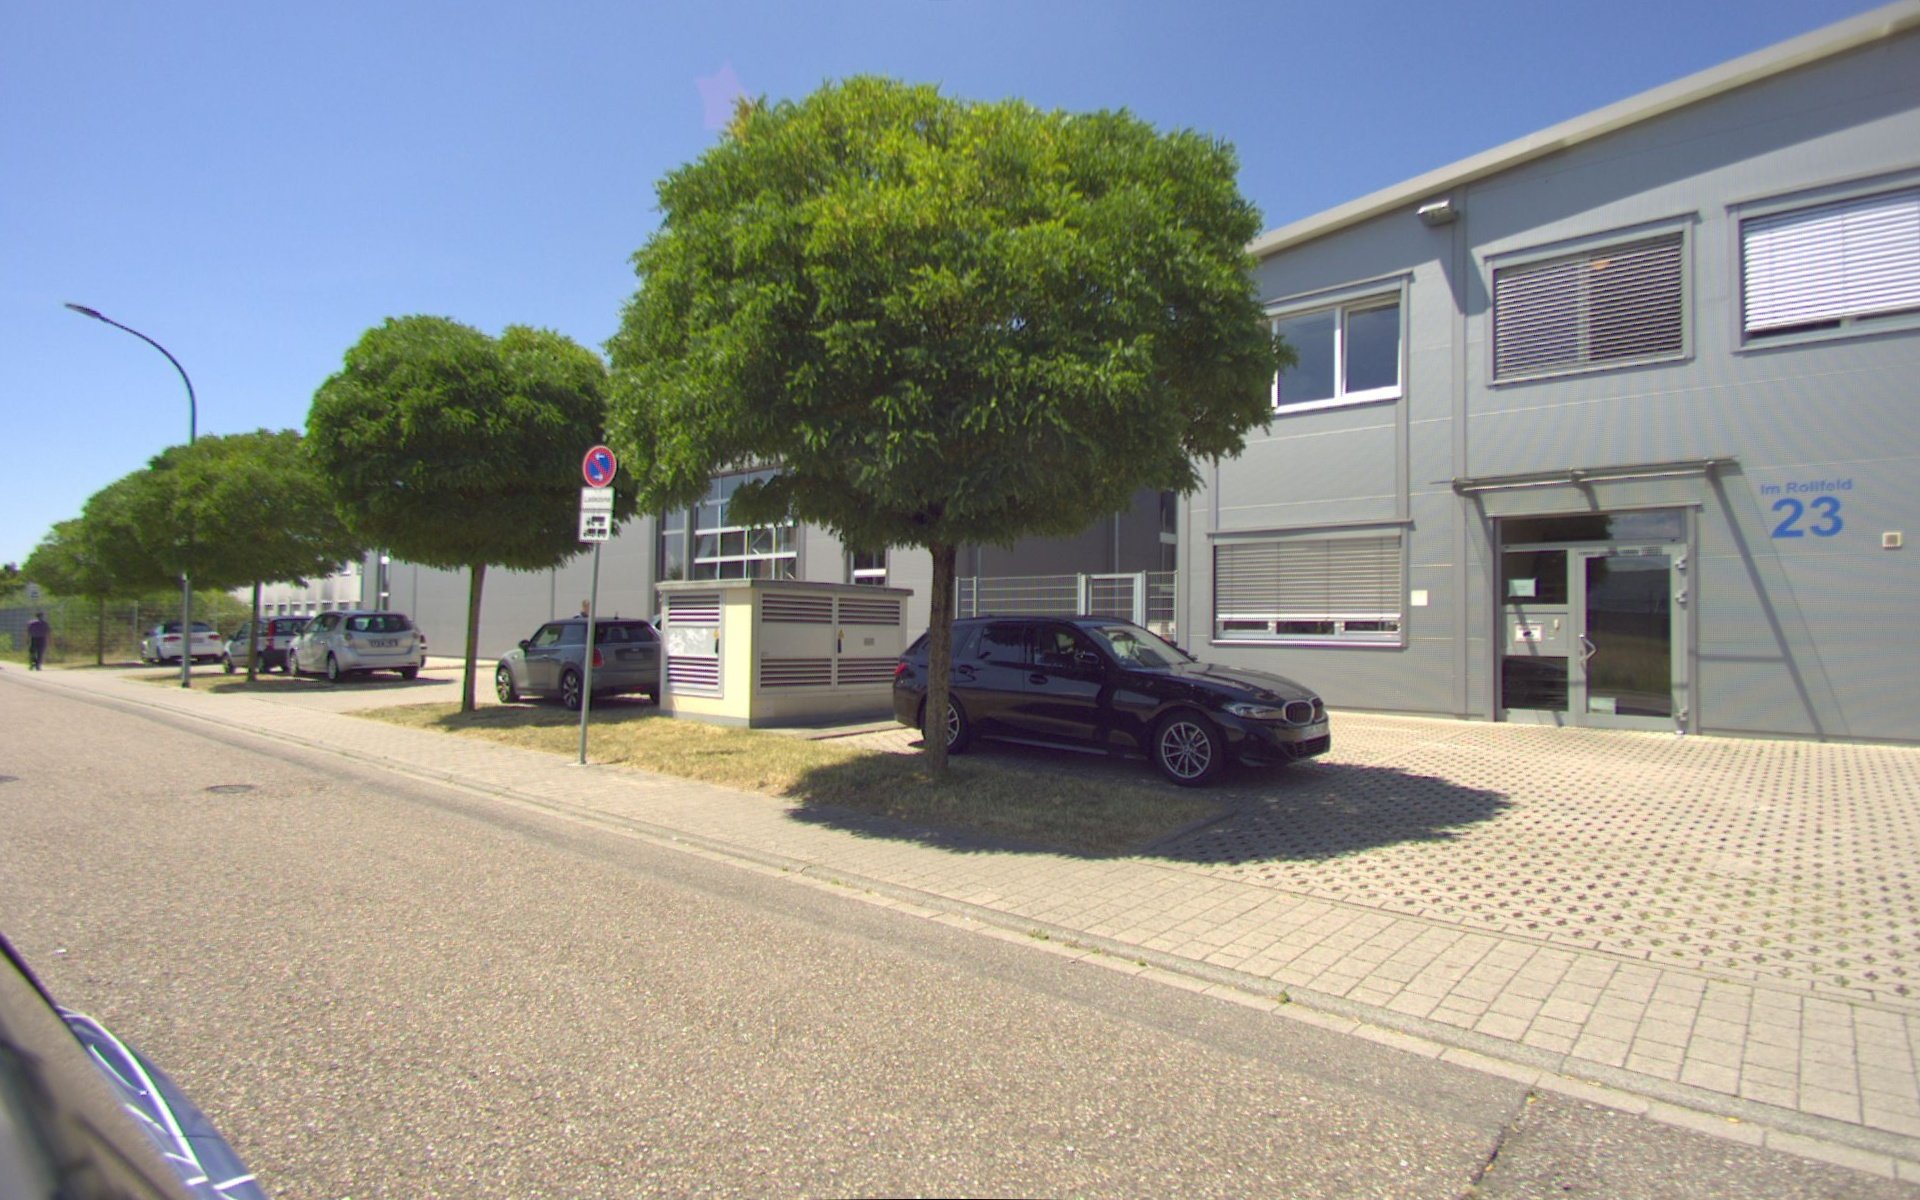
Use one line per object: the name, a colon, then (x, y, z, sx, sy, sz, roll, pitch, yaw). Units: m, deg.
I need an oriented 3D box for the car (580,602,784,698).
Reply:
car: (-5.402, 0.896, 19.373, 4.347, 1.640, 1.716, -1, -1, 42)

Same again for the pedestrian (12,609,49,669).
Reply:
pedestrian: (-28.726, 1.202, 31.268, 1.134, 1.815, 0.736, -2, -1, 43)

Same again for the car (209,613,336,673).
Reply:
car: (-18.457, 1.135, 27.126, 3.697, 1.511, 1.667, -1, -2, 36)

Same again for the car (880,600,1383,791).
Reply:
car: (1.489, 0.785, 10.076, 4.711, 1.464, 1.747, -1, 0, 41)

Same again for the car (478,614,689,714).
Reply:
car: (-6.357, 0.990, 16.915, 3.839, 1.464, 1.747, -1, -1, 42)

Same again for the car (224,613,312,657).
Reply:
car: (-25.656, 1.261, 37.480, 4.258, 1.511, 1.804, -2, -1, 43)

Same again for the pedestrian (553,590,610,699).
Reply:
pedestrian: (-7.061, 0.813, 18.918, 0.829, 1.987, 0.967, 0, -1, -9)

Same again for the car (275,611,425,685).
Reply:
car: (-14.456, 1.068, 23.883, 4.538, 1.585, 1.747, -1, -1, 41)

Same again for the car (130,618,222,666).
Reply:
car: (-26.766, 1.399, 34.519, 4.327, 1.511, 1.804, -2, -1, 43)
